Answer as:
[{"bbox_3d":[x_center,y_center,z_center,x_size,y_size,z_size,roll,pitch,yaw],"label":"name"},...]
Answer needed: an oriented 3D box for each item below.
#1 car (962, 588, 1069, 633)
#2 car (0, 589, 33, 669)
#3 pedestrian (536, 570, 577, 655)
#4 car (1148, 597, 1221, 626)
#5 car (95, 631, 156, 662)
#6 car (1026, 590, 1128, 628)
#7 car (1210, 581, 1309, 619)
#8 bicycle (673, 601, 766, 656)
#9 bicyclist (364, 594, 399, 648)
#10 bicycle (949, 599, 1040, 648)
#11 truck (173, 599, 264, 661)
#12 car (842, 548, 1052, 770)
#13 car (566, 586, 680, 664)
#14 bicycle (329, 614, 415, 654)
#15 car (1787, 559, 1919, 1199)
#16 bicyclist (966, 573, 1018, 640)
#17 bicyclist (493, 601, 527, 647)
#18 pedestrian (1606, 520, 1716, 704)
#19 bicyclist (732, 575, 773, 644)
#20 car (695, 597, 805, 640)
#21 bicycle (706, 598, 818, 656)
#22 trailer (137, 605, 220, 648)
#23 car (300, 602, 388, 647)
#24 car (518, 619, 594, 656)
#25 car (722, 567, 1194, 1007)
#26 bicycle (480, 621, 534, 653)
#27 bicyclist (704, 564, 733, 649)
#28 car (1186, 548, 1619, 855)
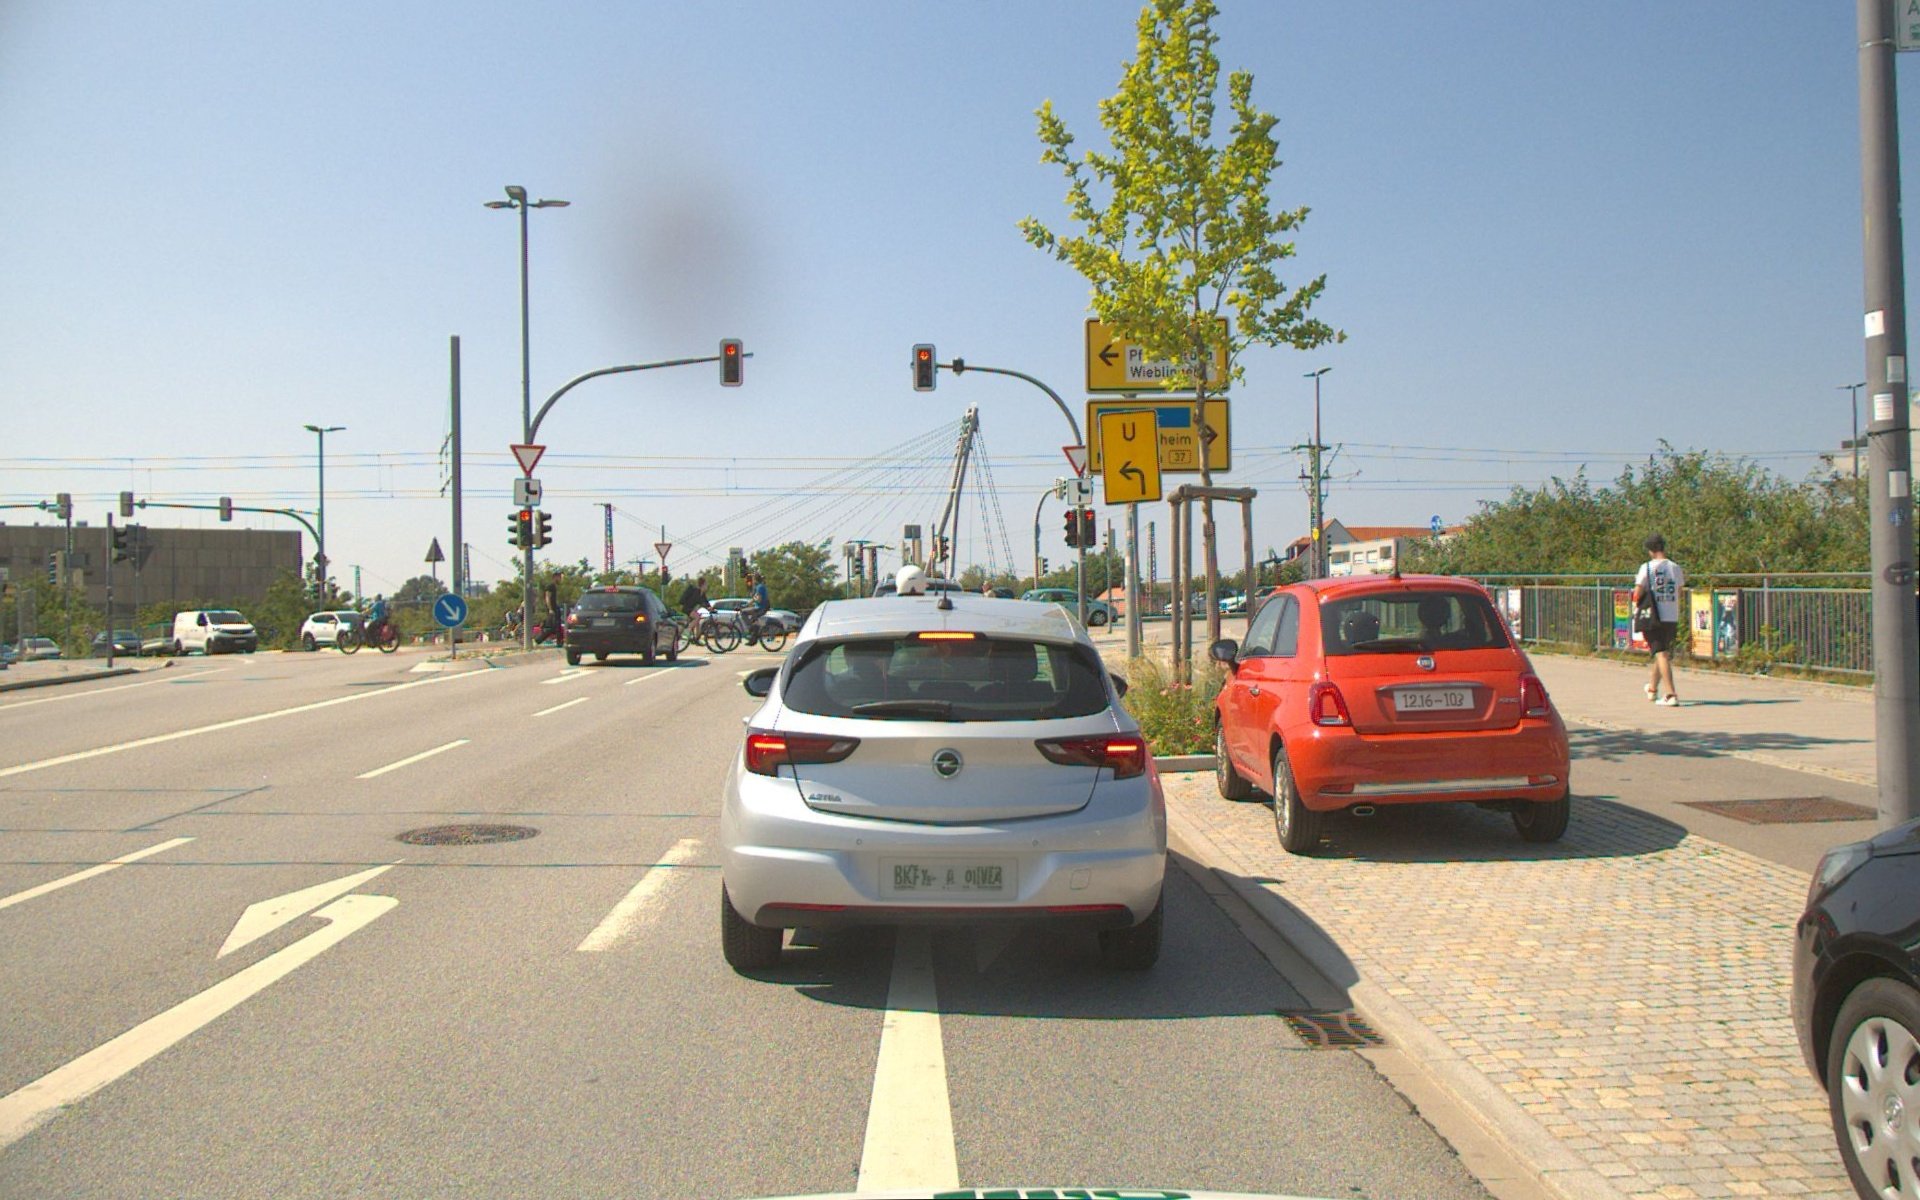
[{"bbox_3d":[2.008,0.396,60.555,3.676,1.611,1.811,0,0,-7],"label":"car"},{"bbox_3d":[-25.861,0.741,44.295,1.653,2.049,3.958,2,-1,-31],"label":"car"},{"bbox_3d":[-9.172,0.290,37.617,0.725,1.896,0.753,1,-1,-2],"label":"pedestrian"},{"bbox_3d":[10.881,0.572,80.105,3.160,1.327,1.517,1,-1,-17],"label":"car"},{"bbox_3d":[-40.248,2.226,79.768,1.653,1.414,3.727,2,-1,-43],"label":"car"},{"bbox_3d":[4.507,0.332,64.016,3.717,1.386,1.531,-1,0,-6],"label":"car"},{"bbox_3d":[14.147,0.014,78.164,4.180,1.703,1.990,1,0,-18],"label":"car"},{"bbox_3d":[-5.471,0.654,37.761,2.040,1.198,0.555,1,-1,-5],"label":"bicycle"},{"bbox_3d":[-16.796,0.614,48.065,0.704,1.530,0.824,1,-1,-1],"label":"bicyclist"},{"bbox_3d":[0.861,0.581,40.296,2.342,1.147,0.668,2,-1,-40],"label":"bicycle"},{"bbox_3d":[-32.076,1.250,71.496,4.627,2.585,1.987,0,-1,43],"label":"truck"},{"bbox_3d":[-0.145,0.482,14.826,1.602,1.703,3.744,1,-1,-2],"label":"car"},{"bbox_3d":[-6.370,0.465,31.546,1.555,1.419,3.339,0,-1,-1],"label":"car"},{"bbox_3d":[-17.078,0.985,48.045,2.271,1.153,0.637,0,0,-1],"label":"bicycle"},{"bbox_3d":[2.924,0.683,2.399,1.549,1.582,3.546,-3,1,-1],"label":"car"},{"bbox_3d":[0.781,0.162,40.251,0.939,1.596,0.811,2,-1,-39],"label":"bicyclist"},{"bbox_3d":[-16.070,0.858,59.083,0.755,1.638,0.949,1,-1,16],"label":"bicyclist"},{"bbox_3d":[7.333,0.123,17.334,0.743,1.862,0.885,1,-1,-1],"label":"pedestrian"},{"bbox_3d":[-4.910,0.222,39.115,0.805,1.587,0.863,1,-1,2],"label":"bicyclist"},{"bbox_3d":[-8.039,0.708,63.422,3.890,1.578,1.677,-1,-1,5],"label":"car"},{"bbox_3d":[-4.675,0.635,39.104,2.472,1.153,0.729,-5,2,2],"label":"bicycle"},{"bbox_3d":[-35.233,1.191,74.520,4.211,1.807,1.987,1,-1,43],"label":"trailer"},{"bbox_3d":[-26.458,1.027,70.998,3.974,1.846,1.920,0,-1,42],"label":"car"},{"bbox_3d":[-19.432,1.780,79.556,3.316,1.684,1.645,1,-1,29],"label":"car"},{"bbox_3d":[-0.052,0.659,7.968,1.656,1.546,4.269,0,0,-1],"label":"car"},{"bbox_3d":[-16.197,1.319,59.135,1.827,1.087,0.578,1,-1,18],"label":"bicycle"},{"bbox_3d":[-5.510,0.152,37.761,0.582,1.920,0.636,1,-1,-4],"label":"bicyclist"},{"bbox_3d":[2.622,0.516,10.739,1.636,1.566,3.915,-2,1,-1],"label":"car"}]
